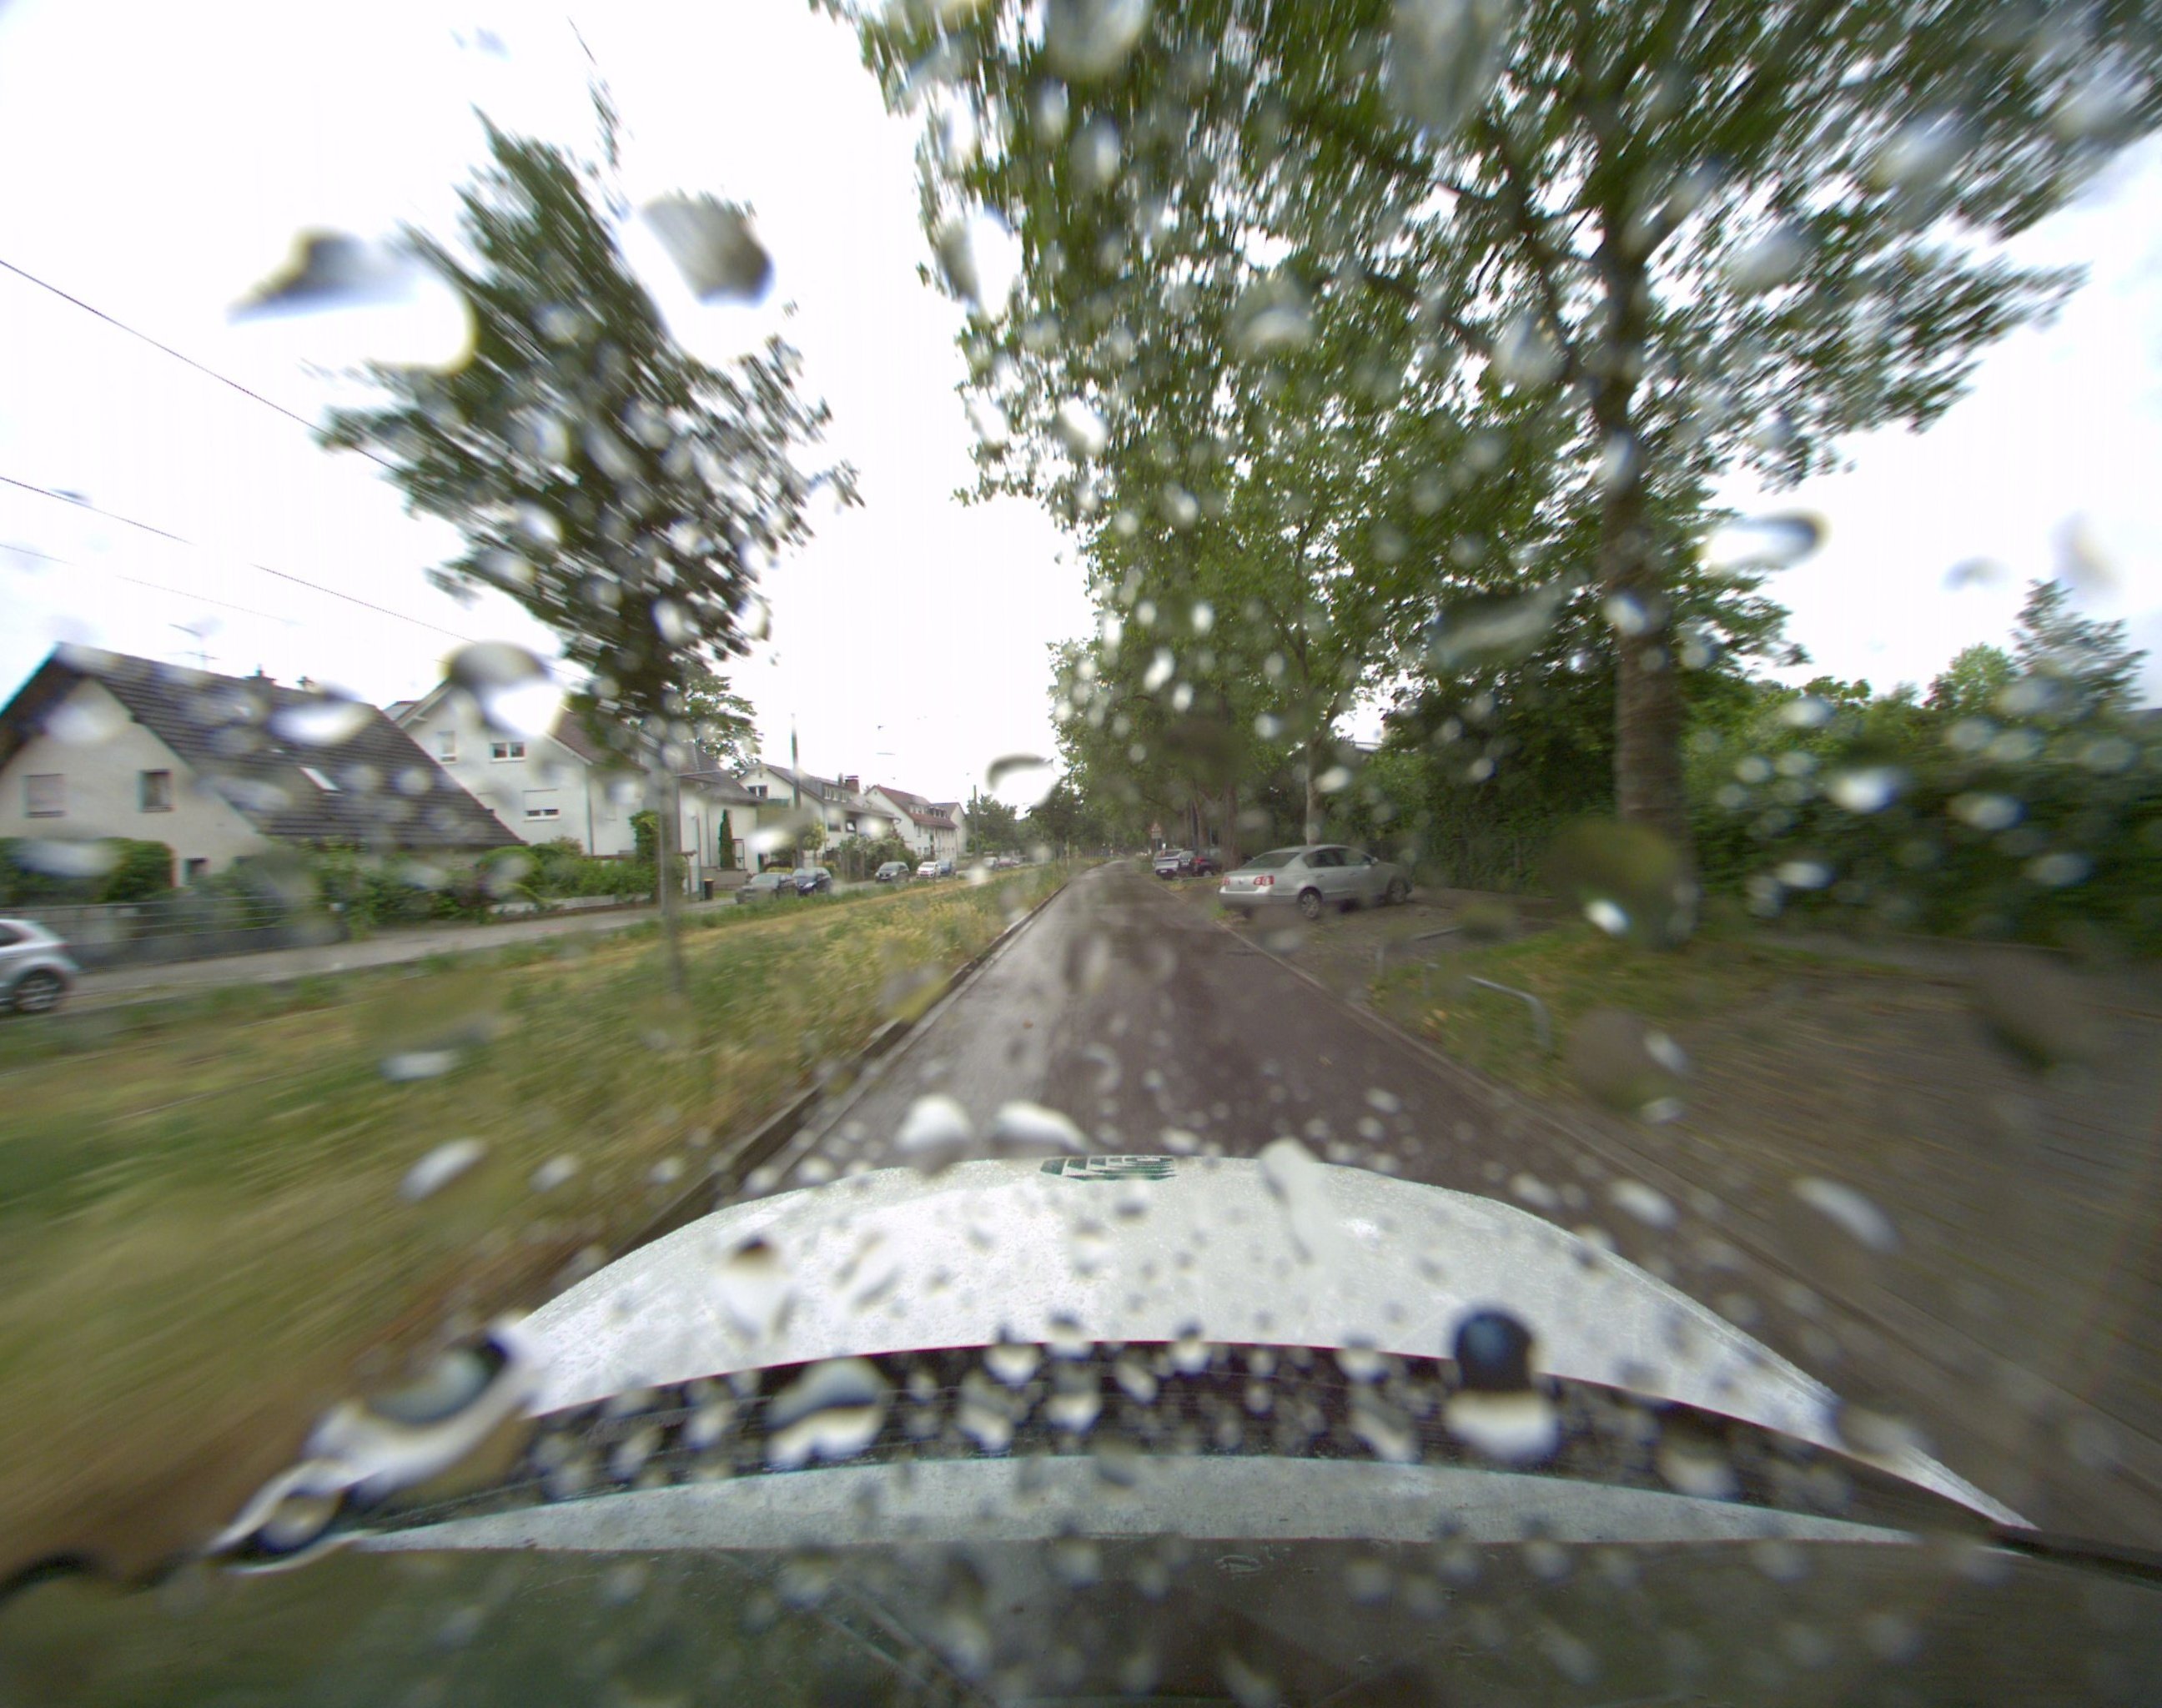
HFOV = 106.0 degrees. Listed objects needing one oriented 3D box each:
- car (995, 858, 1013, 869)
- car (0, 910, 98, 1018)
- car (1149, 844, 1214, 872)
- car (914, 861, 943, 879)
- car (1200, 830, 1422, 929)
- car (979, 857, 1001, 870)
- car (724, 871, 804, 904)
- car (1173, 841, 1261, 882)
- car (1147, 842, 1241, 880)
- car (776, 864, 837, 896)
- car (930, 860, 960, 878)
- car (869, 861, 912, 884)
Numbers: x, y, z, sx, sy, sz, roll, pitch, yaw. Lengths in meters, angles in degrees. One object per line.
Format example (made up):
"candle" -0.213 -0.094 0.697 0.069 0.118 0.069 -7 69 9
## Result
"car" -11.103 1.352 117.425 1.985 1.488 4.209 -1 0 3
"car" -15.980 1.589 10.385 1.986 1.411 3.972 -1 0 1
"car" 6.640 0.267 53.765 3.859 1.566 1.612 -4 0 -13
"car" -13.655 1.414 73.186 1.789 1.488 3.600 -1 0 3
"car" 4.962 0.469 17.376 4.577 1.544 1.869 -6 2 -31
"car" -11.600 1.195 103.788 1.985 1.581 4.520 -1 0 3
"car" -15.128 1.577 39.144 1.985 1.350 4.243 -1 0 3
"car" 6.158 0.329 36.722 3.727 1.566 1.603 -4 0 -31
"car" 5.963 0.371 42.815 4.796 1.668 1.973 -4 0 -35
"car" -14.832 1.395 44.189 1.867 1.550 3.871 -1 0 1
"car" -13.285 1.412 80.009 1.985 1.614 4.416 -1 0 3
"car" -14.332 1.365 61.442 1.985 1.516 4.209 -1 0 3
